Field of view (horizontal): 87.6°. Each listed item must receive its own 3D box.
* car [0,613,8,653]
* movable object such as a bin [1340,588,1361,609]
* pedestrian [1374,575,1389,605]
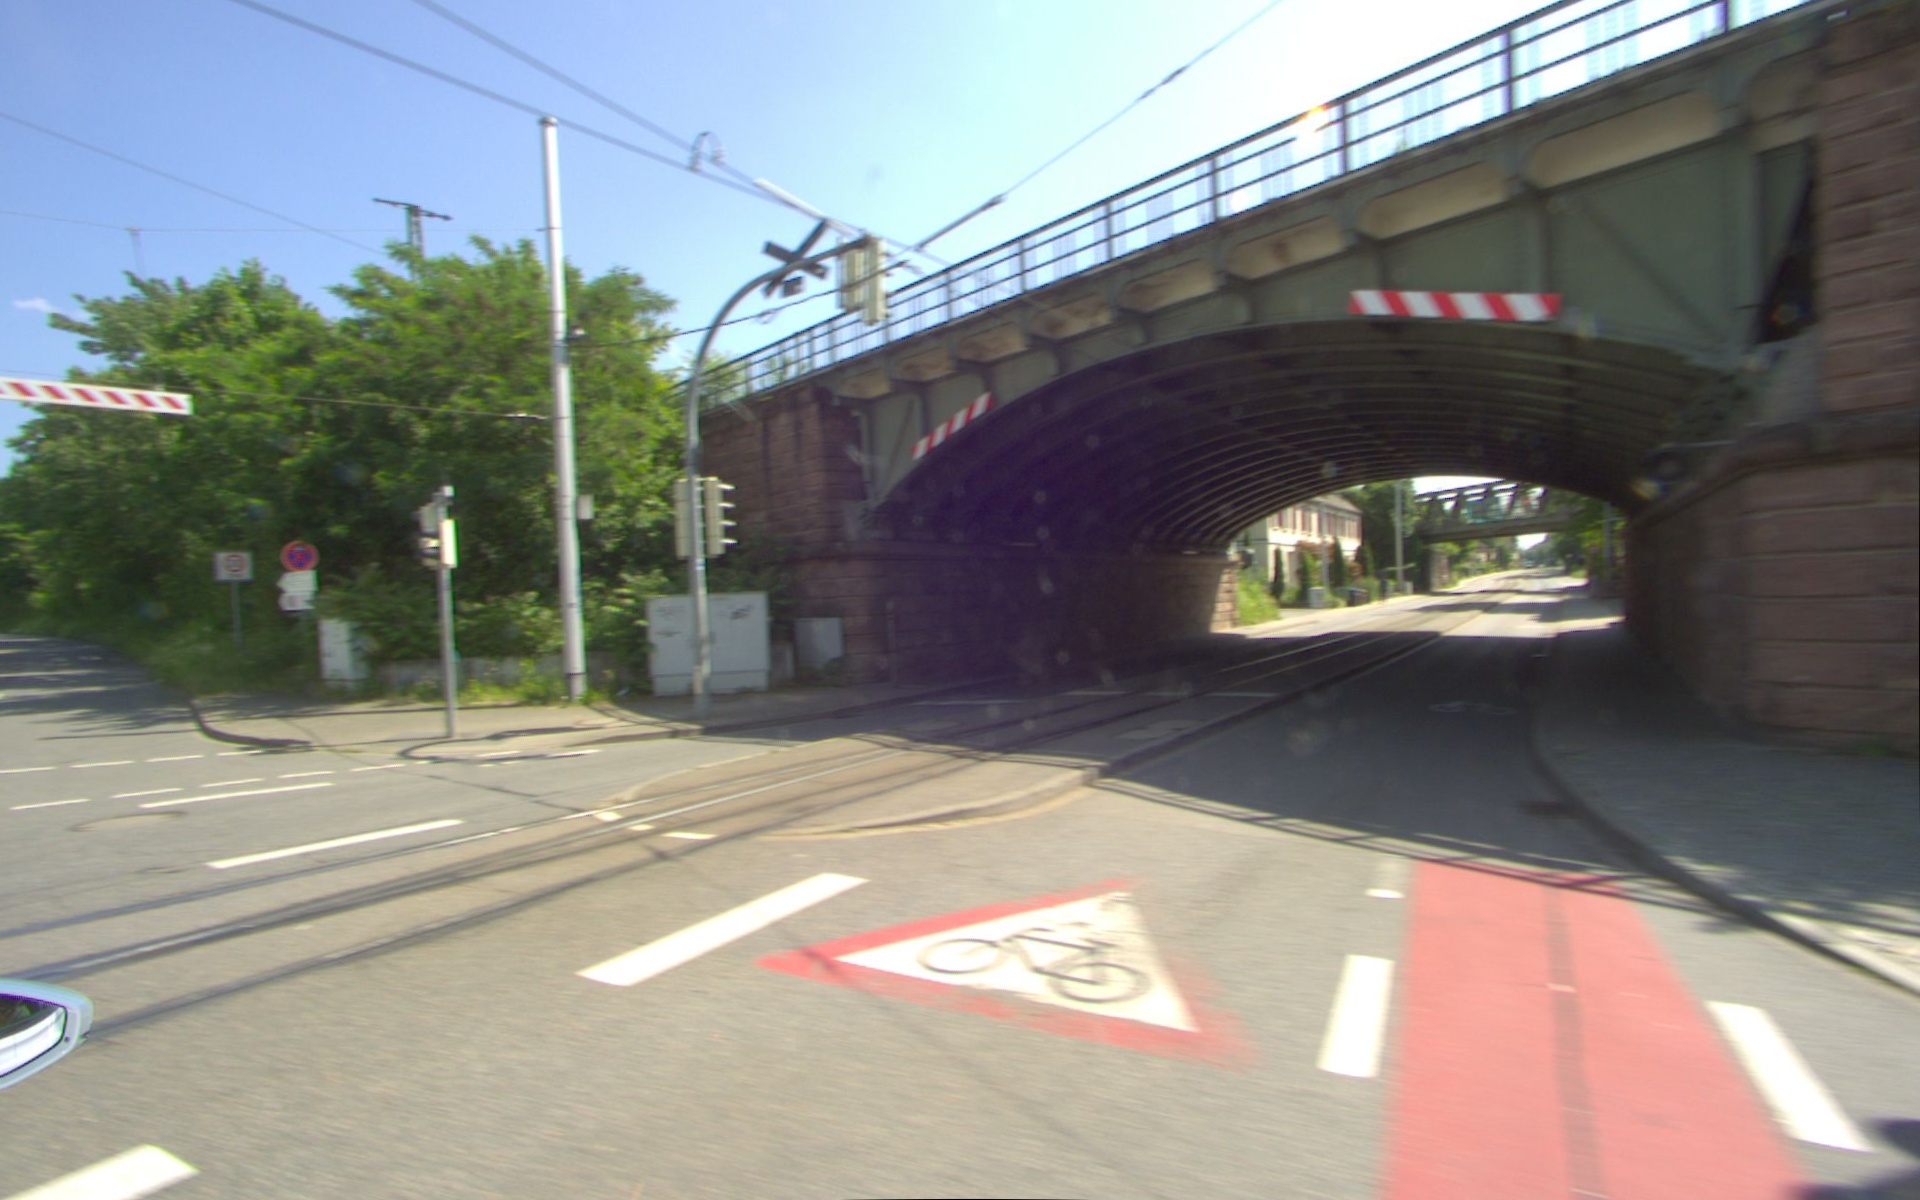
[{"bbox_3d":[-39.528,1.298,39.990,2.072,1.530,4.497,0,-1,-42],"label":"car"},{"bbox_3d":[23.234,-0.090,59.529,1.024,1.178,0.970,-2,0,30],"label":"movable object such as a bin"},{"bbox_3d":[26.686,-0.629,63.431,0.731,1.841,0.847,-1,1,30],"label":"pedestrian"}]
